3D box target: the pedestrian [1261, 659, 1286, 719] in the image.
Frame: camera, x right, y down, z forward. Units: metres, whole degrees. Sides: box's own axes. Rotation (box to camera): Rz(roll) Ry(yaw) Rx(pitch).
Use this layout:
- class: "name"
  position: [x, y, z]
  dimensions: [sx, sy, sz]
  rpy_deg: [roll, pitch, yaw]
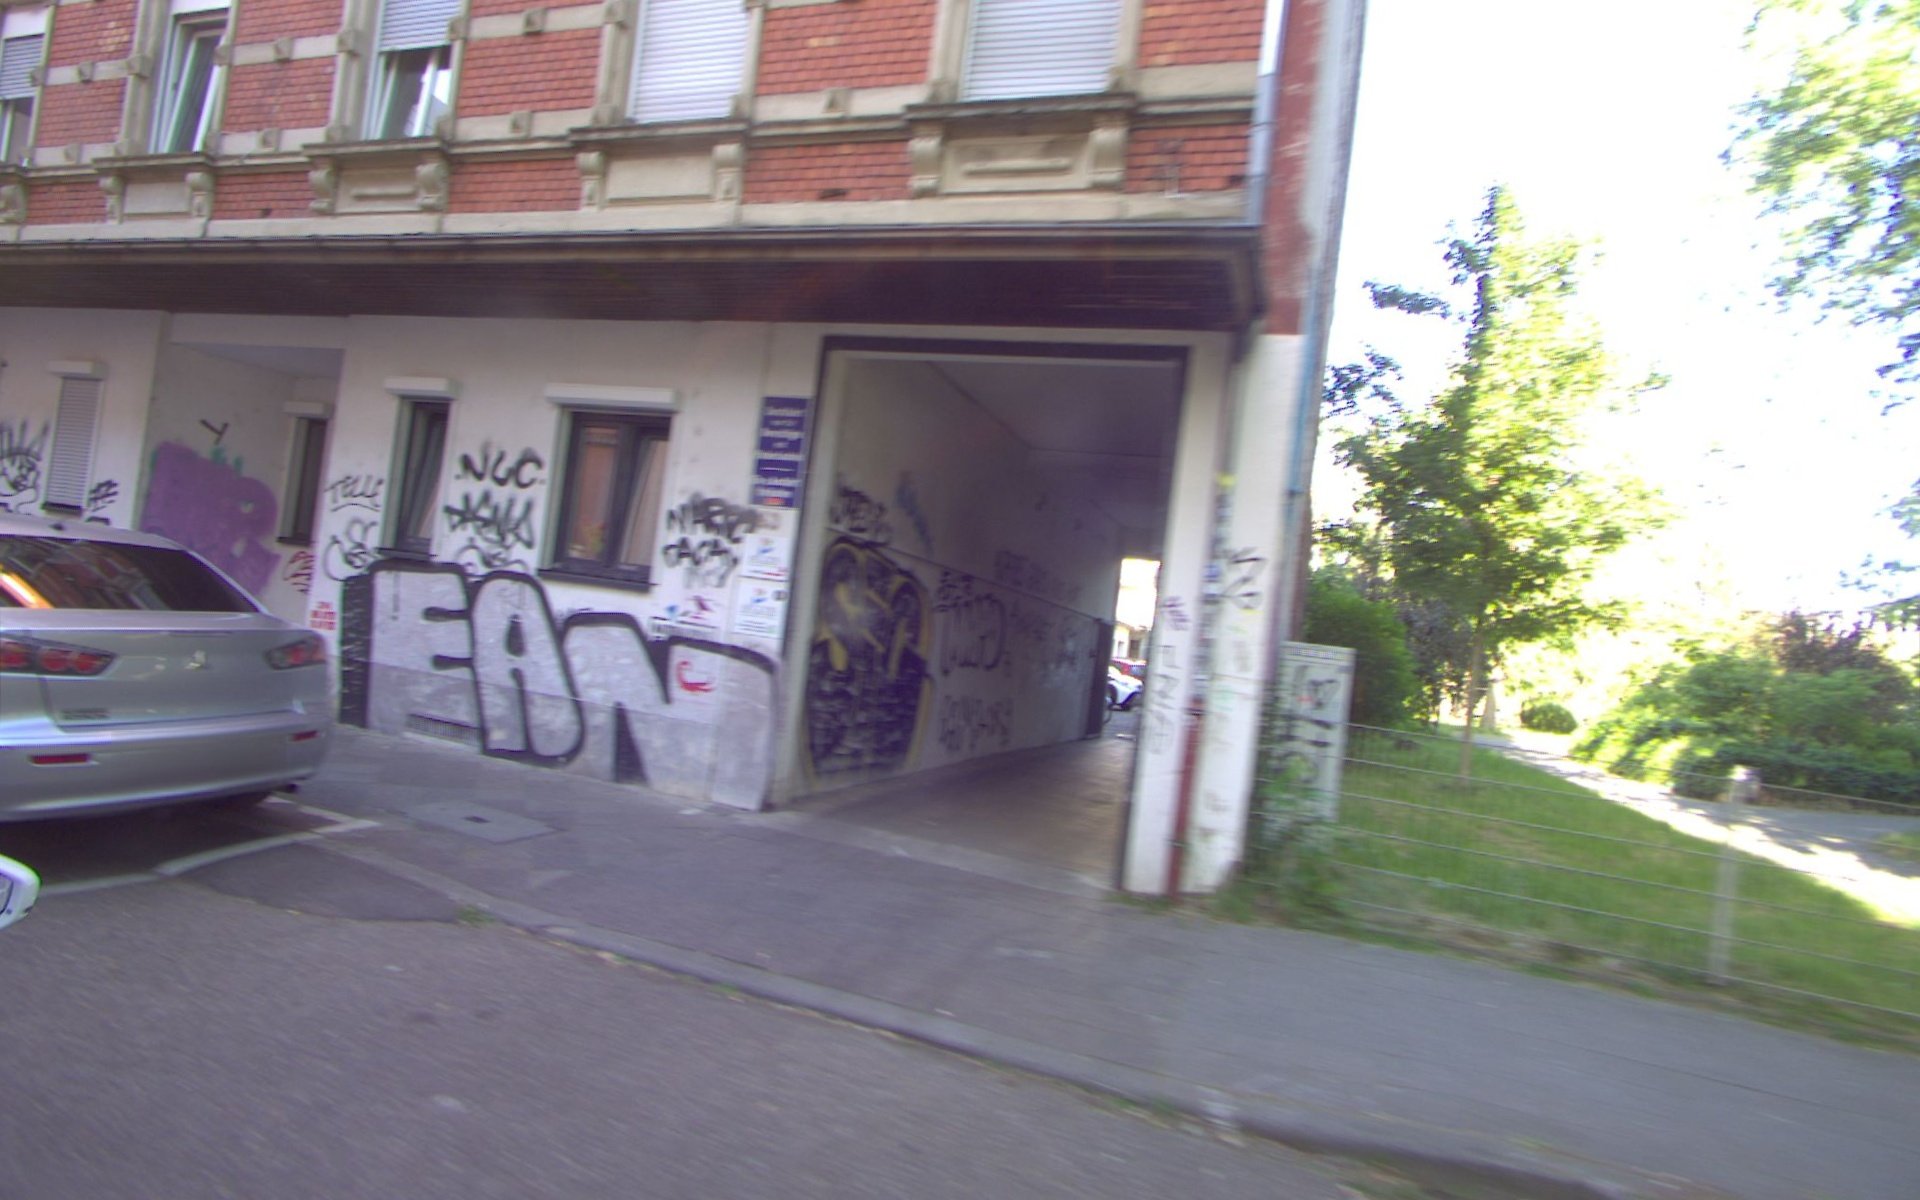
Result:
- class: "pedestrian"
  position: [10.354, 2.937, 33.235]
  dimensions: [0.567, 1.878, 0.636]
  rpy_deg: [7, 0, 21]

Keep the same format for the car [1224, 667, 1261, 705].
- class: "car"
  position: [14.769, 4.446, 52.446]
  dimensions: [1.638, 1.710, 4.003]
  rpy_deg: [7, -1, 17]

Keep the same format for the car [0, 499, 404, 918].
- class: "car"
  position: [-5.345, 0.240, 5.245]
  dimensions: [4.316, 1.580, 1.728]
  rpy_deg: [7, -2, 20]

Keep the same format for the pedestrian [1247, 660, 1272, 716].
- class: "pedestrian"
  position: [10.134, 2.964, 34.008]
  dimensions: [0.567, 1.814, 0.636]
  rpy_deg: [7, 0, 21]
